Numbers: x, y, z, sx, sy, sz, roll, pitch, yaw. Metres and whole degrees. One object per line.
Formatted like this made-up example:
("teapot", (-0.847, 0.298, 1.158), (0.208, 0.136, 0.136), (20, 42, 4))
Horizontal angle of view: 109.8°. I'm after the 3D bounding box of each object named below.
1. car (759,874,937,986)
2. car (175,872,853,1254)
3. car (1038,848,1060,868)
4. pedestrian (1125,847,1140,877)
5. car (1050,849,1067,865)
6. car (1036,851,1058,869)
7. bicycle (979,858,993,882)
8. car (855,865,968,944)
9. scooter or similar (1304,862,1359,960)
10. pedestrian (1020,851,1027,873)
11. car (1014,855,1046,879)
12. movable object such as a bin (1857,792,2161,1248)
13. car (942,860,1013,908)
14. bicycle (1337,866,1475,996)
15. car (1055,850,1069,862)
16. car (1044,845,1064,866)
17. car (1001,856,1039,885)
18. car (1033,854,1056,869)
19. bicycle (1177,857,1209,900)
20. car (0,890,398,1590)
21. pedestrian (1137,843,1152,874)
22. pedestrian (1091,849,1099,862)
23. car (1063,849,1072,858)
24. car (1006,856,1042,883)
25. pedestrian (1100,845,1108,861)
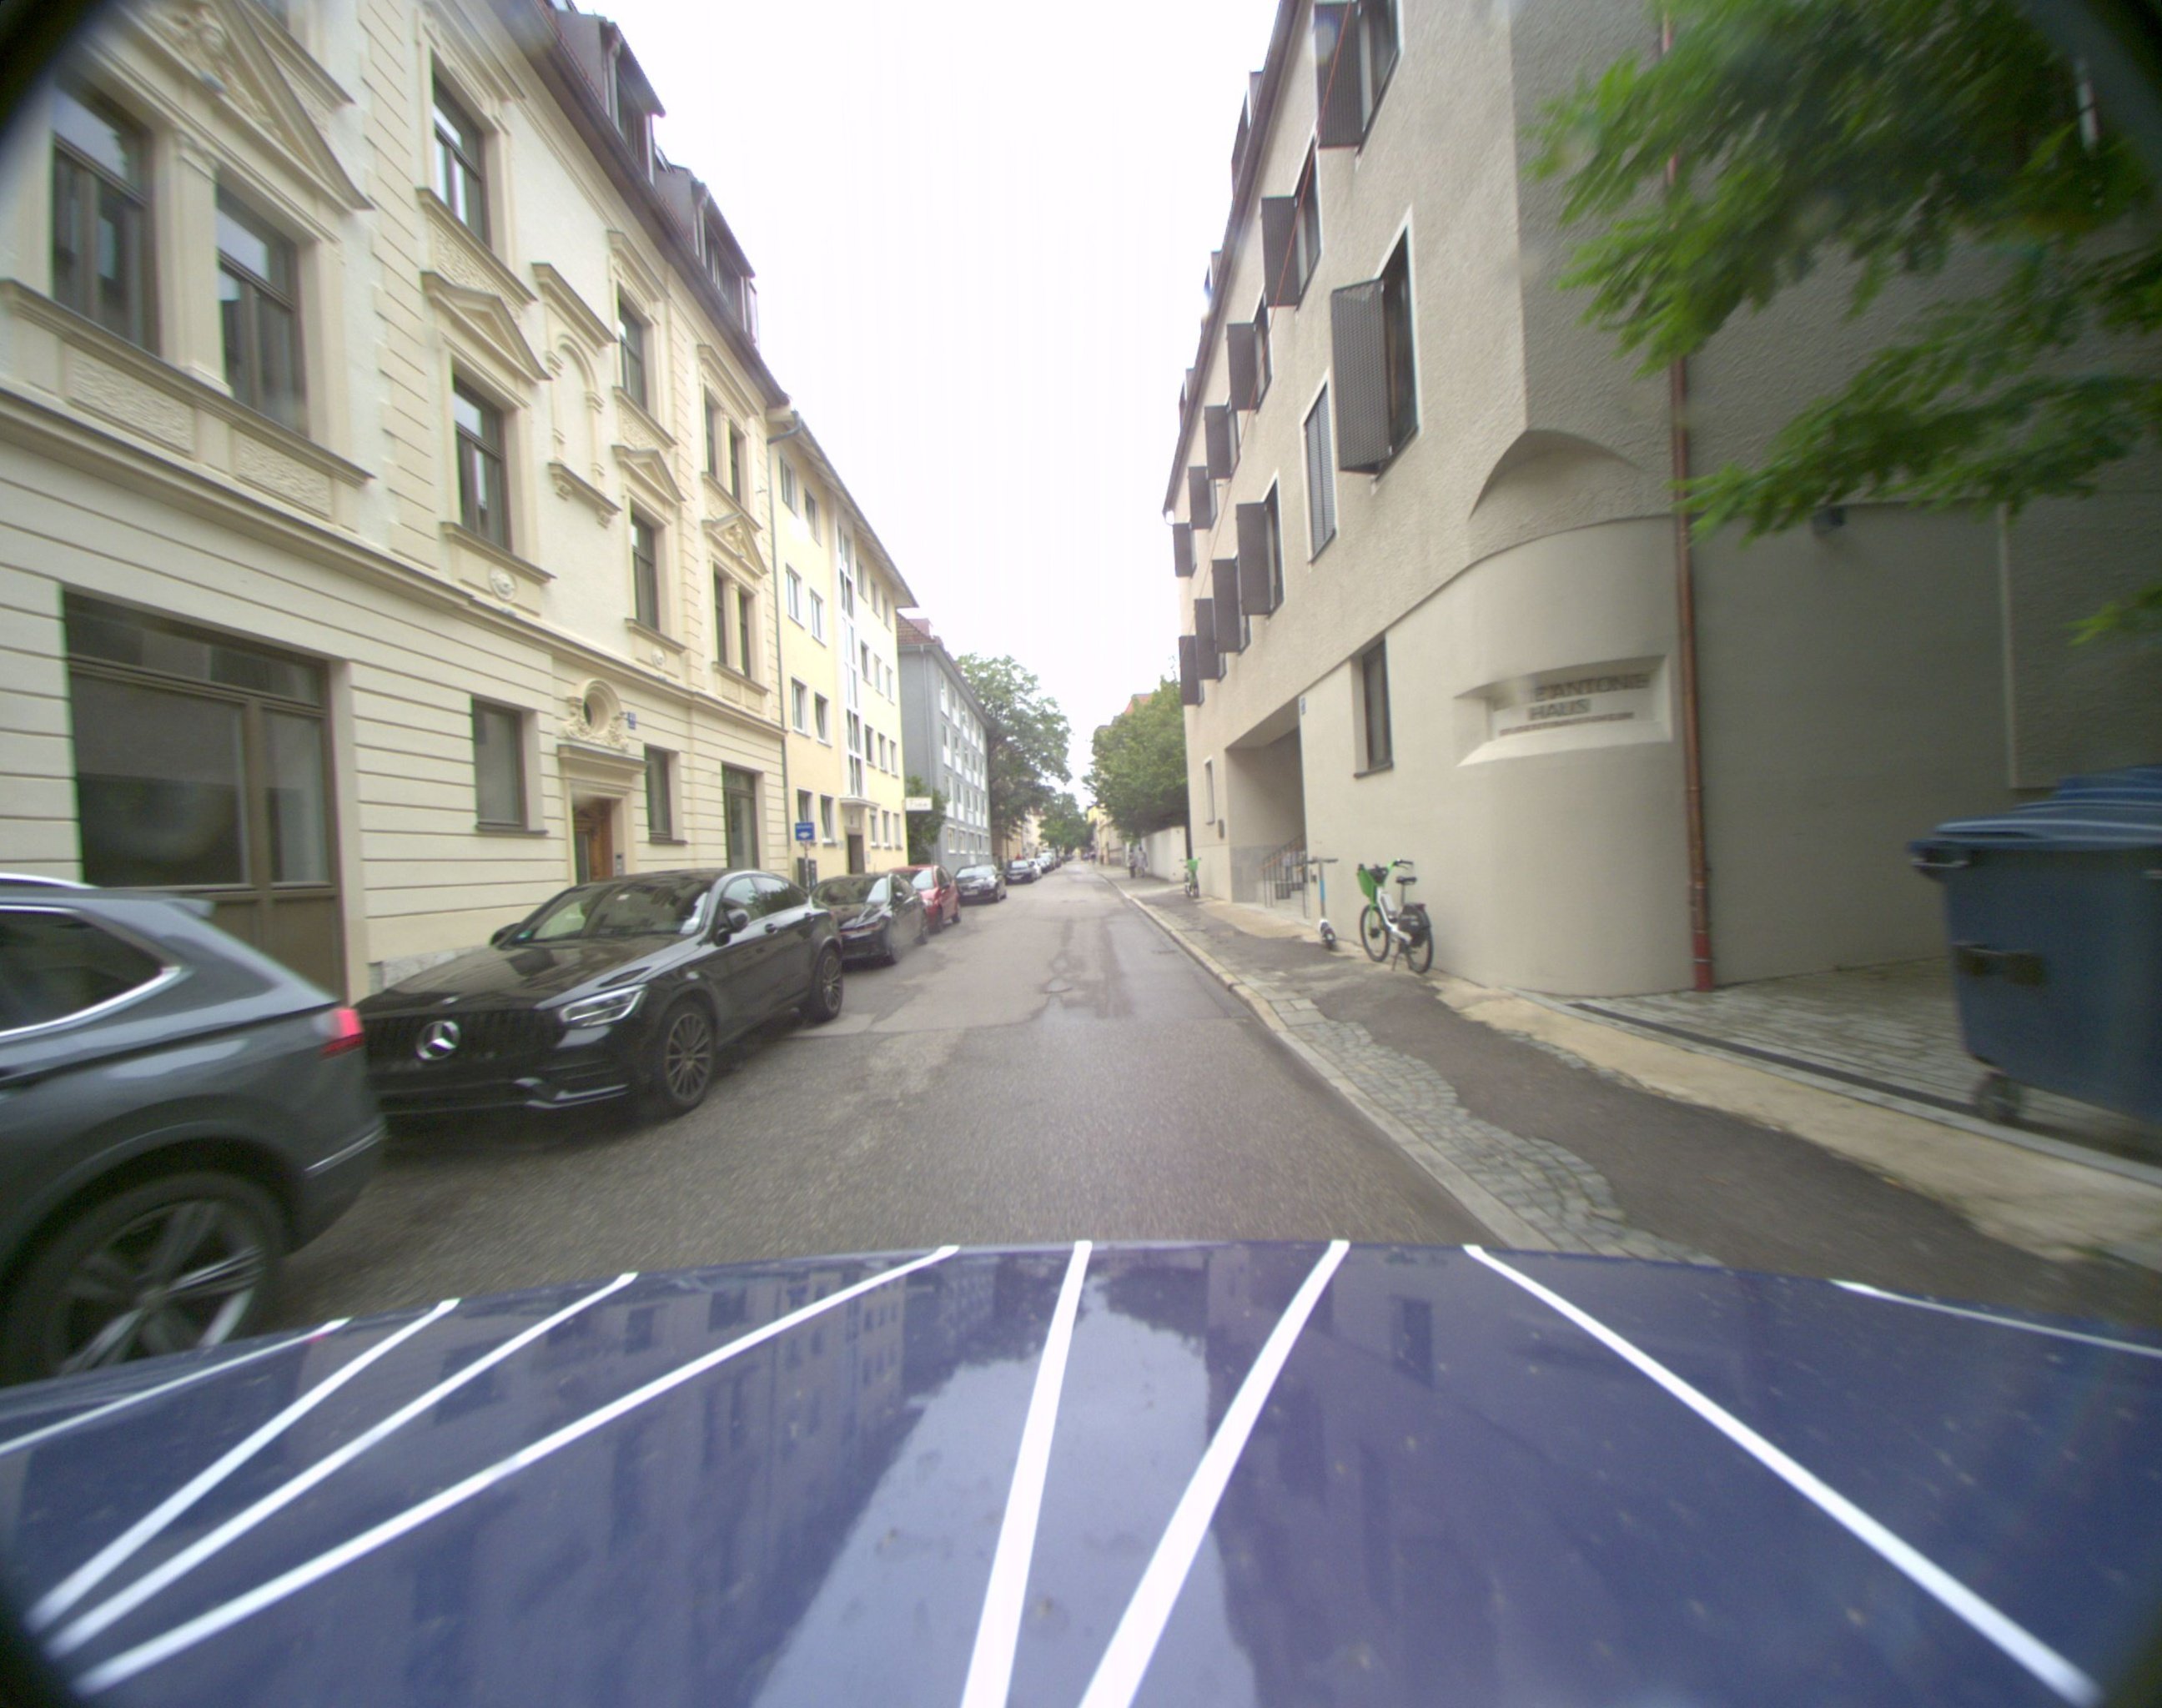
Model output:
("car", (-3.712, 1.136, 12.888), (1.680, 1.385, 4.065), (-3, 0, 0))
("car", (-3.385, 1.046, 5.949), (1.706, 1.597, 4.684), (-3, 0, 0))
("car", (-3.581, 0.429, 85.763), (1.998, 2.002, 5.064), (-3, 0, 2))
("pedestrian", (2.732, 0.421, 40.401), (0.624, 1.570, 0.714), (-4, 1, 0))
("car", (-3.344, 0.412, 112.289), (2.014, 1.989, 5.090), (-7, 0, 1))
("car", (-3.508, 0.598, 79.745), (1.998, 1.677, 4.510), (-3, 0, 1))
("bicycle", (-6.227, 1.005, 49.758), (0.515, 1.478, 2.279), (-3, 0, 1))
("car", (-3.804, 1.071, 17.703), (1.680, 1.484, 3.853), (-3, 0, 0))
("scooter or similar", (3.334, 0.729, 10.167), (0.553, 1.137, 1.359), (-5, 1, 17))
("pedestrian", (-5.462, 0.760, 72.261), (0.581, 1.966, 0.455), (-4, 1, 0))
("car", (-3.584, 0.904, 54.575), (1.773, 1.437, 4.344), (-7, 0, 1))
("movable object such as a bin", (4.105, 0.520, 2.735), (1.177, 1.433, 1.249), (-8, -1, 6))
("car", (-3.619, 1.003, 27.297), (1.830, 1.327, 4.508), (-7, 0, 0))
("bicycle", (3.379, 0.740, 8.102), (0.545, 1.154, 1.882), (-5, 1, -1))
("car", (-3.388, 0.342, 135.436), (2.014, 1.914, 5.090), (-7, 0, 1))
("car", (-3.455, 0.198, 98.868), (2.014, 2.479, 5.090), (-7, 0, 1))
("car", (-3.549, 0.937, 44.685), (1.846, 1.420, 4.263), (-7, 0, -2))
("car", (-3.543, 0.746, 74.431), (1.998, 1.306, 4.593), (-3, 0, 1))
("bicycle", (3.179, 0.680, 21.743), (0.539, 1.132, 1.916), (-5, 1, -1))
("car", (-3.510, 1.017, 0.648), (1.680, 1.651, 4.512), (-3, 0, 0))
("pedestrian", (3.371, 0.246, 40.532), (0.615, 1.612, 0.687), (-6, 1, 0))
("pedestrian", (1.936, 0.147, 104.078), (0.920, 1.742, 1.066), (-3, 1, -1))
("car", (-3.435, -0.204, 196.384), (2.014, 1.969, 5.090), (-7, 0, 1))
("car", (-3.666, 0.969, 49.514), (1.794, 1.393, 4.485), (-7, 0, 1))
("pedestrian", (2.587, -0.123, 86.545), (0.766, 1.742, 0.970), (-3, 1, -1))
